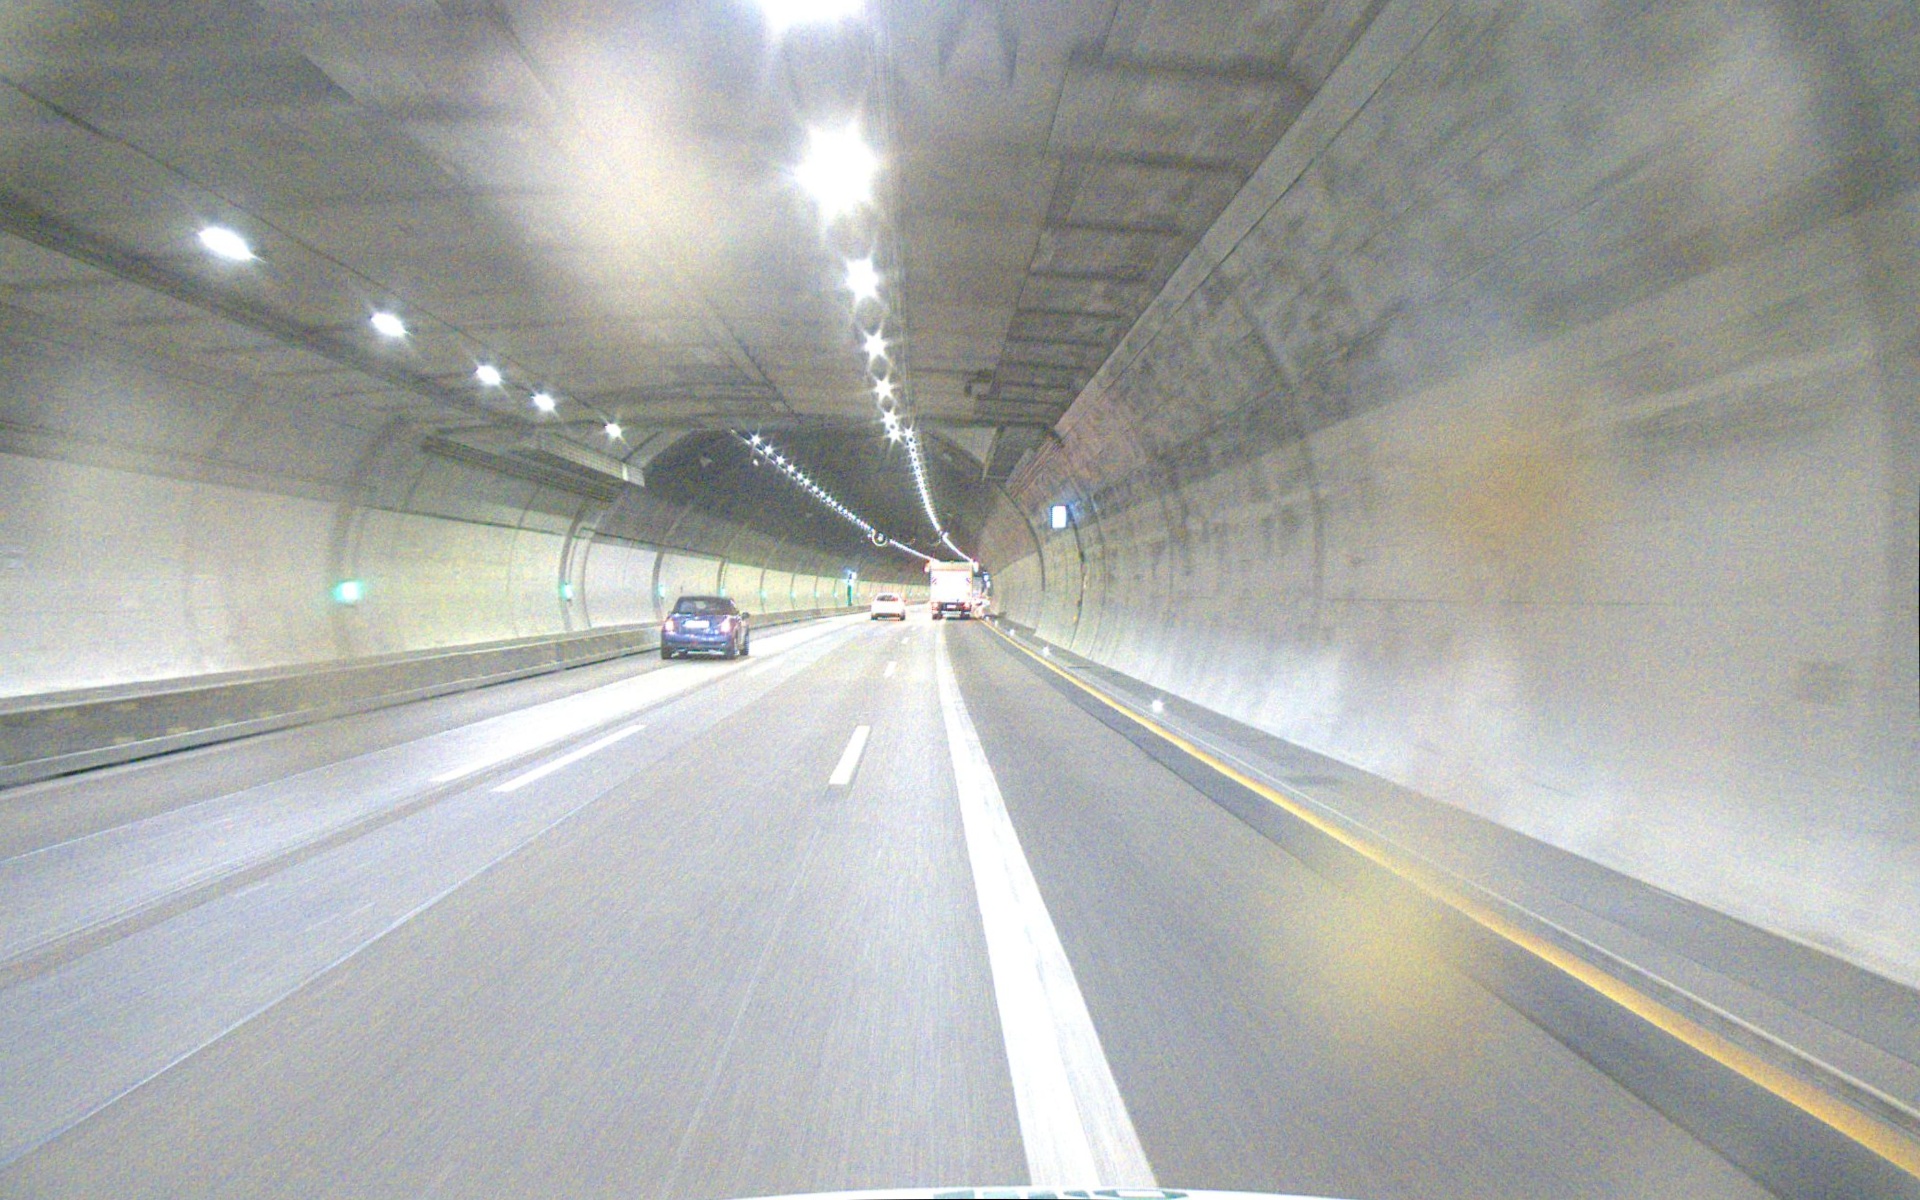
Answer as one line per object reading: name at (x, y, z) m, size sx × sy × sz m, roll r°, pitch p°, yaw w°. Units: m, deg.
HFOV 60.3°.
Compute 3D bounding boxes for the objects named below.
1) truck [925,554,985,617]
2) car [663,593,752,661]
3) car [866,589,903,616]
truck at (-0.310, -0.908, 103.419) m, size 3.519 × 3.714 × 10.721 m, roll 0°, pitch 0°, yaw 0°
car at (-5.715, 0.577, 37.800) m, size 1.655 × 1.442 × 3.920 m, roll 0°, pitch 0°, yaw -3°
car at (-4.199, 0.122, 91.558) m, size 1.954 × 1.437 × 4.739 m, roll -1°, pitch 0°, yaw -4°
